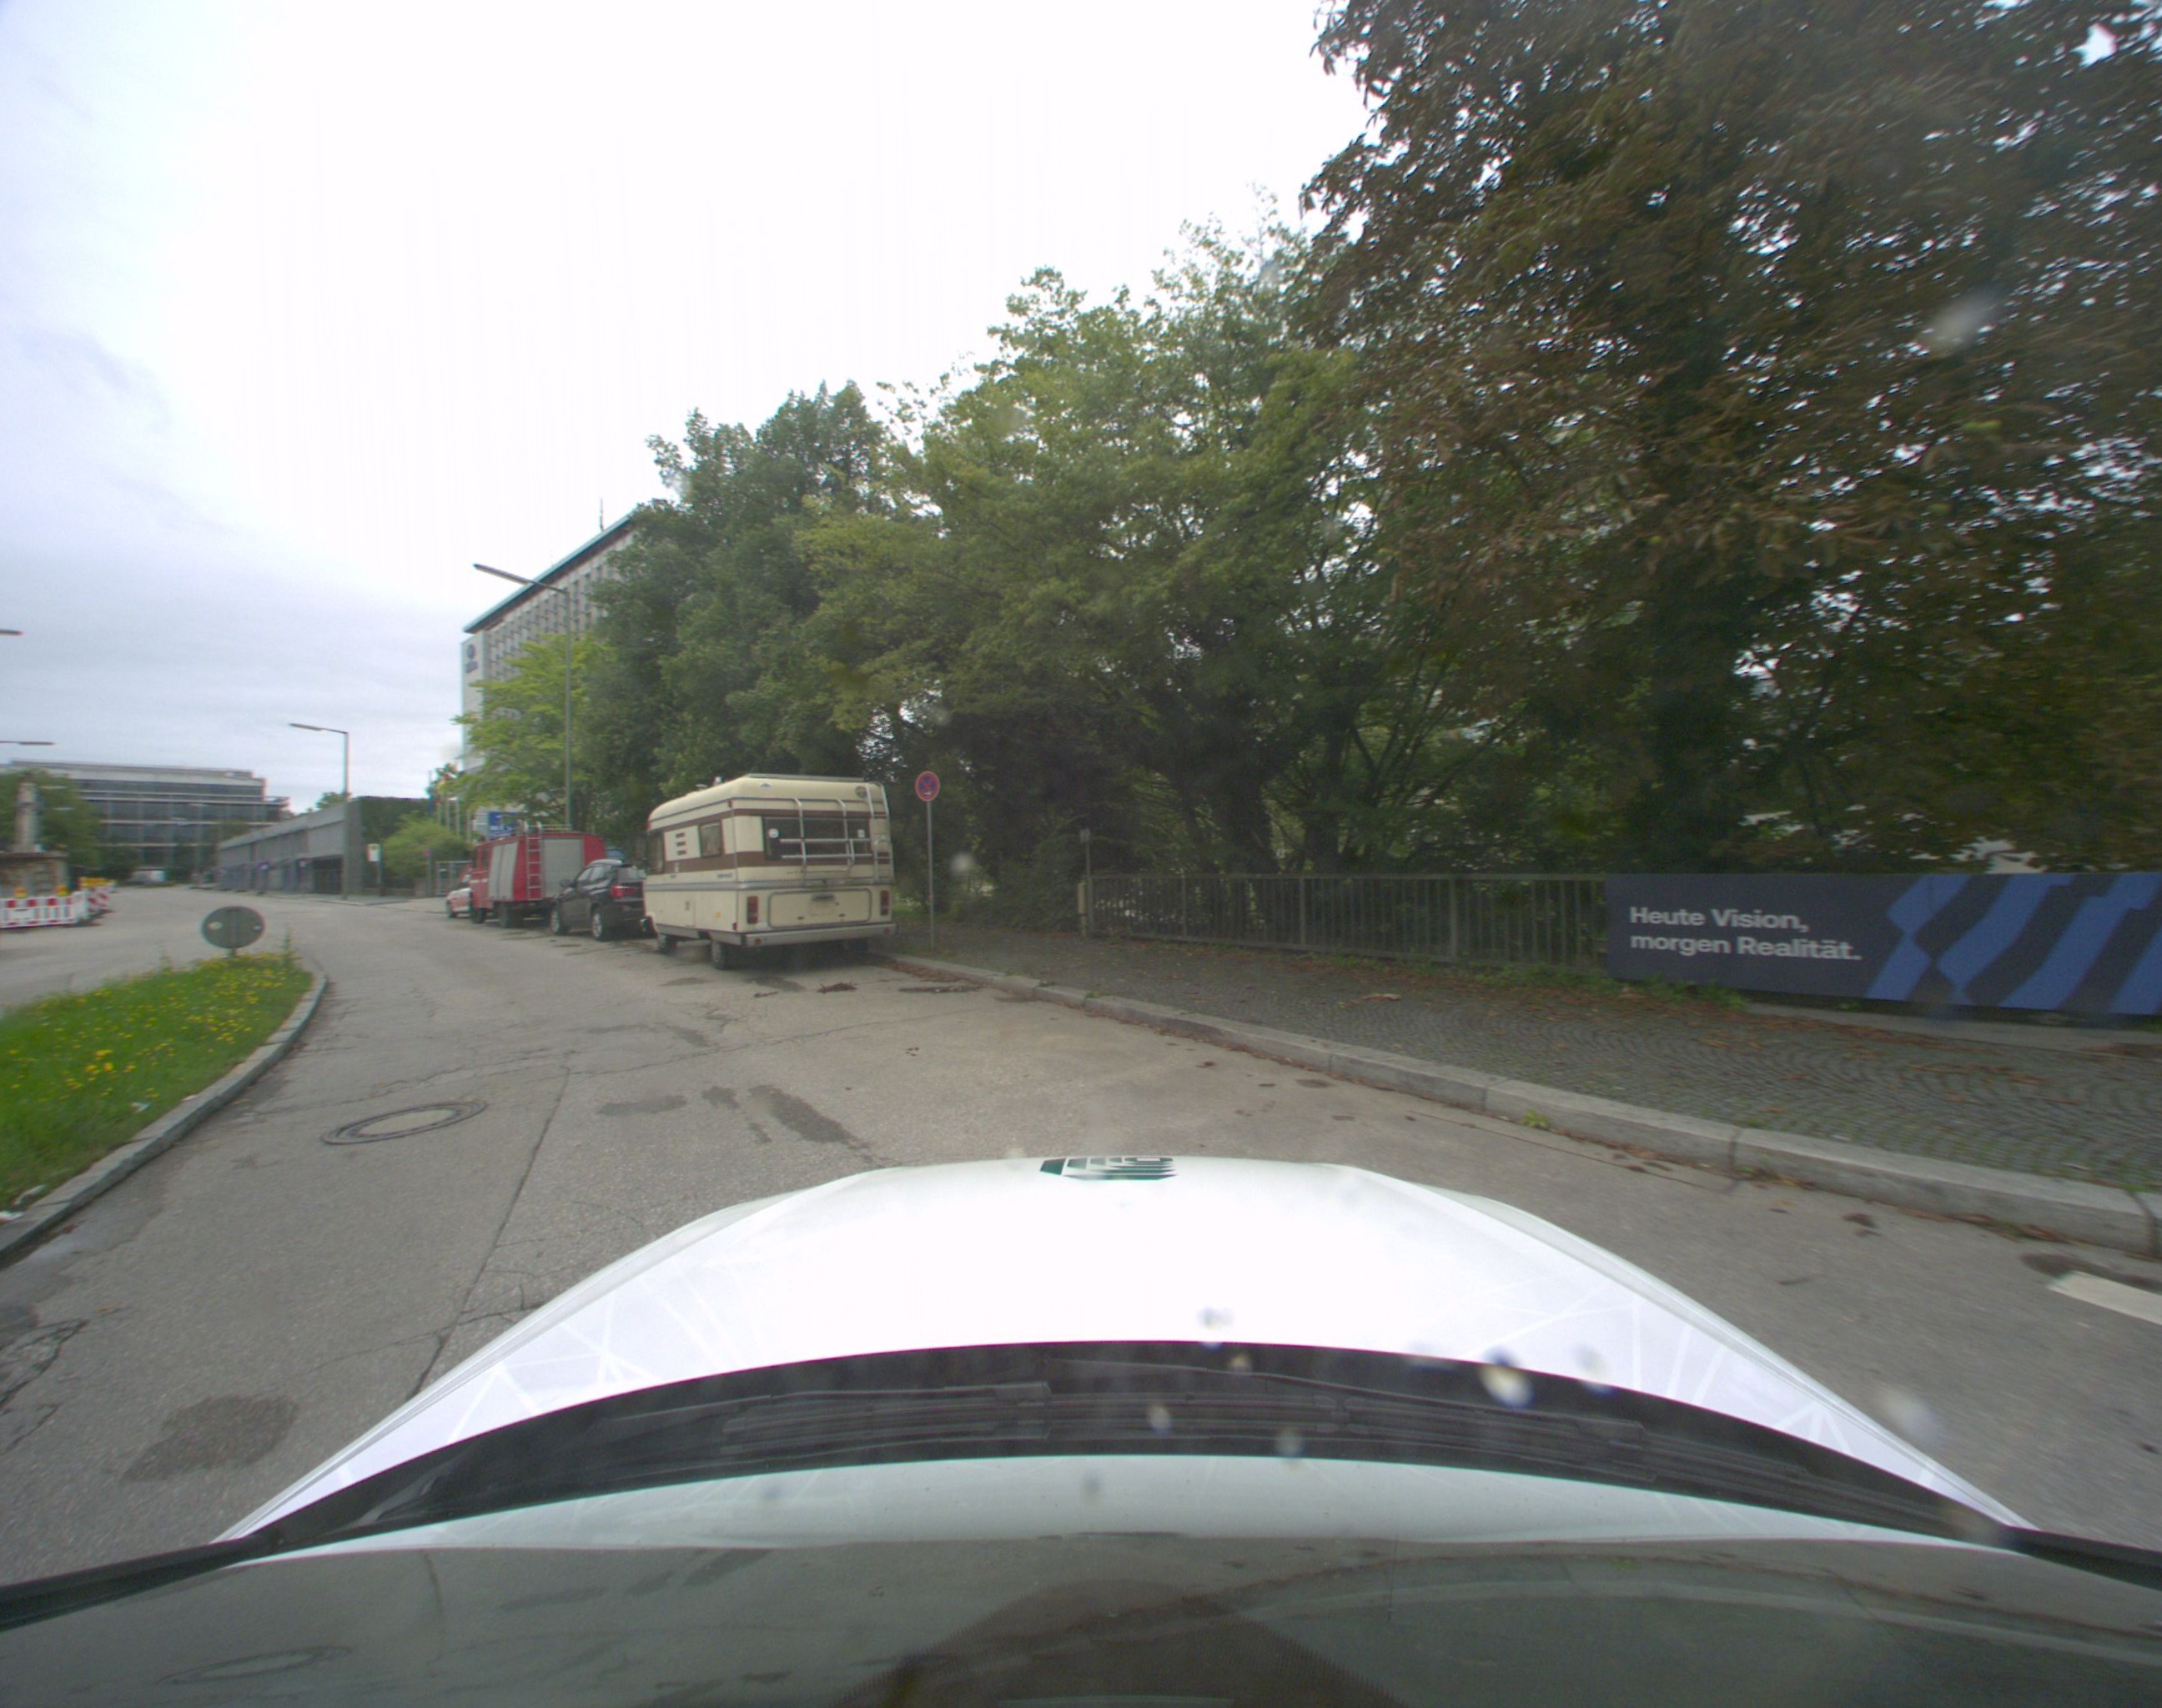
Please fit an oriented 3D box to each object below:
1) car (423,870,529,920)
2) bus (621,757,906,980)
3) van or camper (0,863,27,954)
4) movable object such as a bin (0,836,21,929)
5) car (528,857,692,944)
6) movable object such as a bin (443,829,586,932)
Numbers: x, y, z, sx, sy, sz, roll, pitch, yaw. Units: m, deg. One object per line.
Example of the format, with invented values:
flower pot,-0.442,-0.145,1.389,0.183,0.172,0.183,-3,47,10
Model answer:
car,-20.728,1.351,27.866,4.202,1.549,1.793,-2,0,37
bus,-5.218,0.208,12.773,2.335,2.699,5.665,-1,0,-41
van or camper,-24.592,1.212,17.315,5.309,2.013,2.012,-1,0,45
movable object such as a bin,-47.483,1.223,34.220,8.892,3.716,3.272,-1,0,39
car,-10.302,0.934,17.672,4.403,1.649,1.793,-2,0,42
movable object such as a bin,-15.596,0.678,22.242,6.109,2.458,2.123,-2,-1,45
